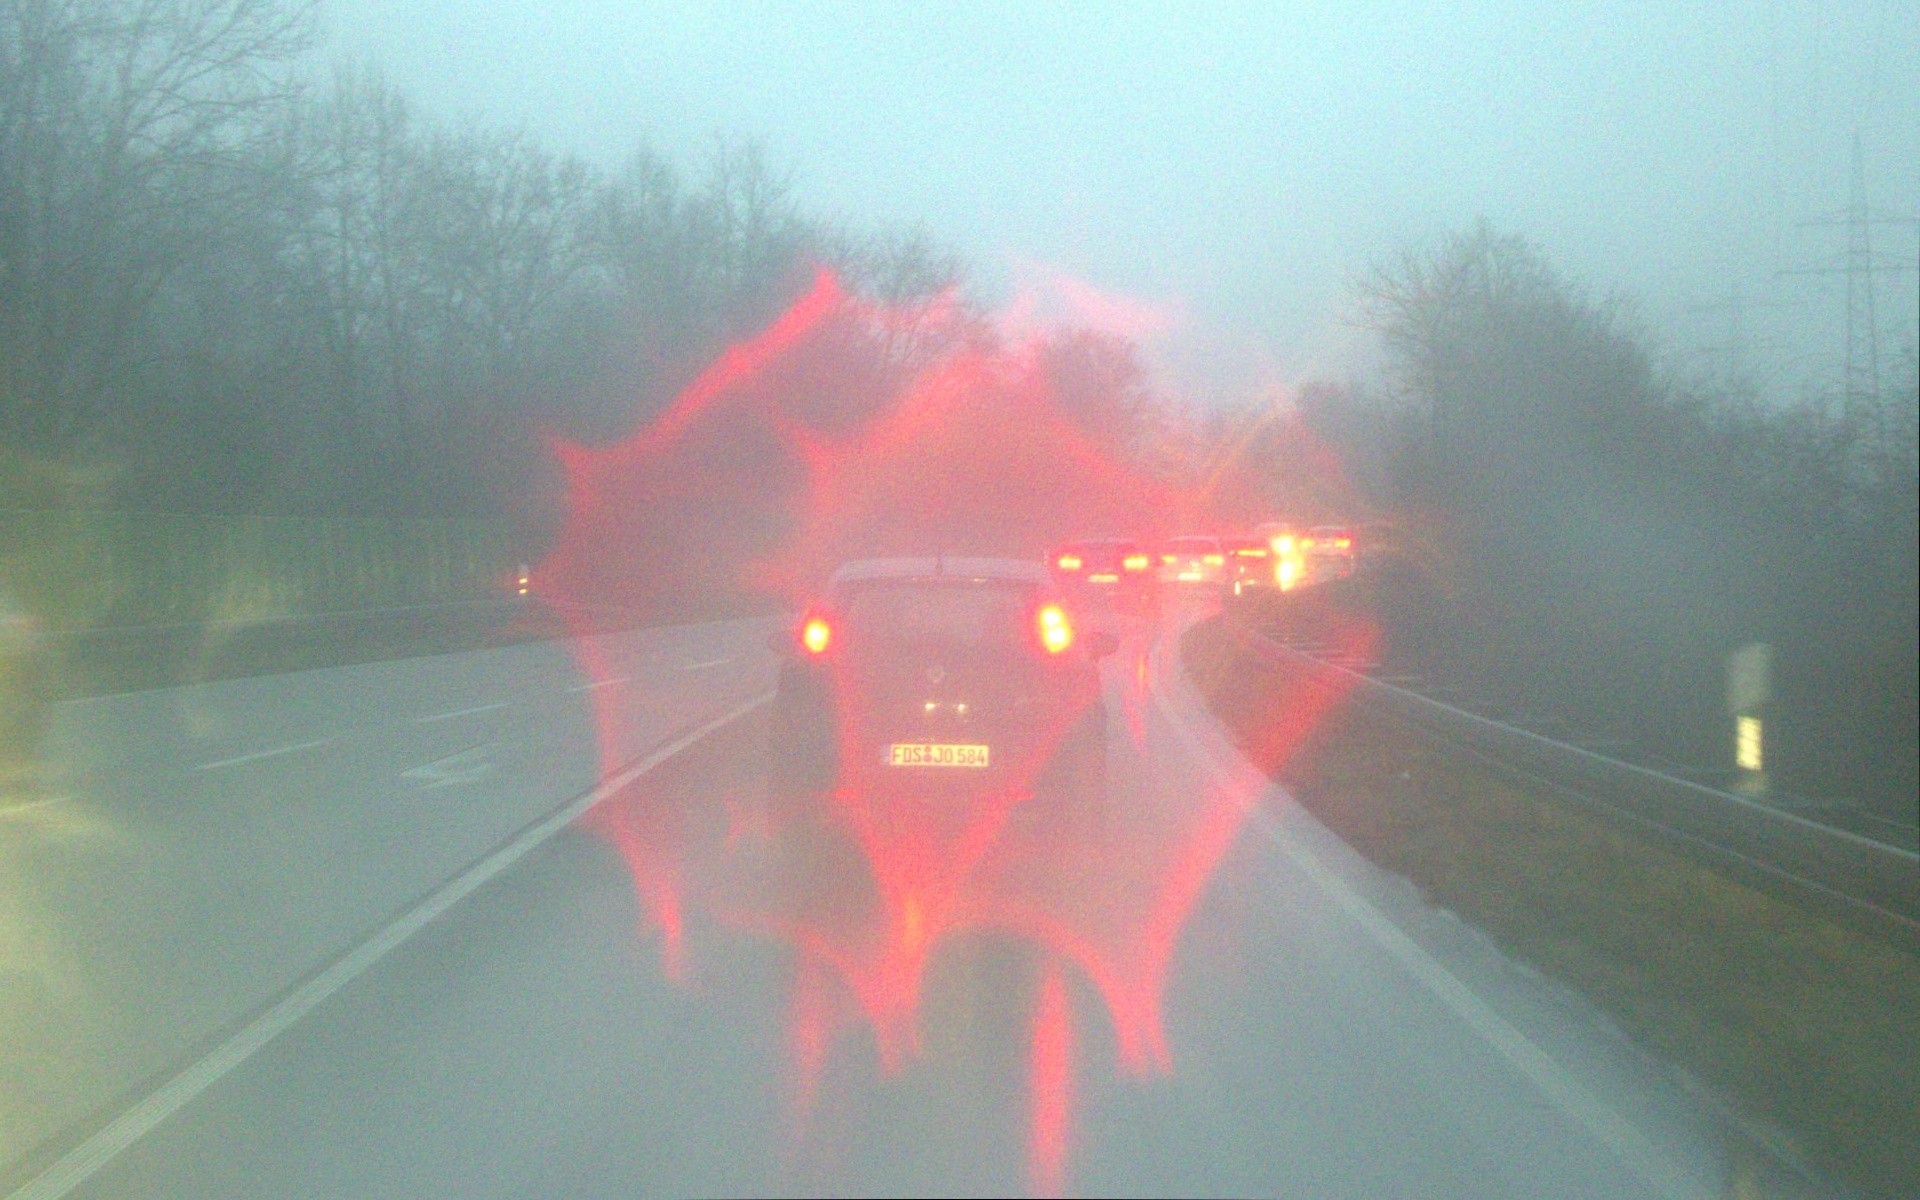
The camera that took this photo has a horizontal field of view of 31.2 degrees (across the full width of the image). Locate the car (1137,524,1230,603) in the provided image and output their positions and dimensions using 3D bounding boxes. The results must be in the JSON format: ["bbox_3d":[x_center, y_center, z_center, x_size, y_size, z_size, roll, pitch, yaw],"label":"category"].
[{"bbox_3d":[5.471,-0.914,83.700,1.946,1.738,3.999,0,3,8],"label":"car"}]

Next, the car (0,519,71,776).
[{"bbox_3d":[-6.543,0.296,19.154,1.864,1.496,4.522,0,1,2],"label":"car"}]

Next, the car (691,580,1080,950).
[{"bbox_3d":[-0.311,0.767,18.182,1.730,1.527,4.042,-4,2,1],"label":"car"}]

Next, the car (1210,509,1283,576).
[{"bbox_3d":[8.278,-1.679,99.043,1.946,1.738,4.000,0,3,7],"label":"car"}]

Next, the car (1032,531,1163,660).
[{"bbox_3d":[2.380,-0.058,60.360,1.946,2.007,4.000,-6,-1,0],"label":"car"}]
